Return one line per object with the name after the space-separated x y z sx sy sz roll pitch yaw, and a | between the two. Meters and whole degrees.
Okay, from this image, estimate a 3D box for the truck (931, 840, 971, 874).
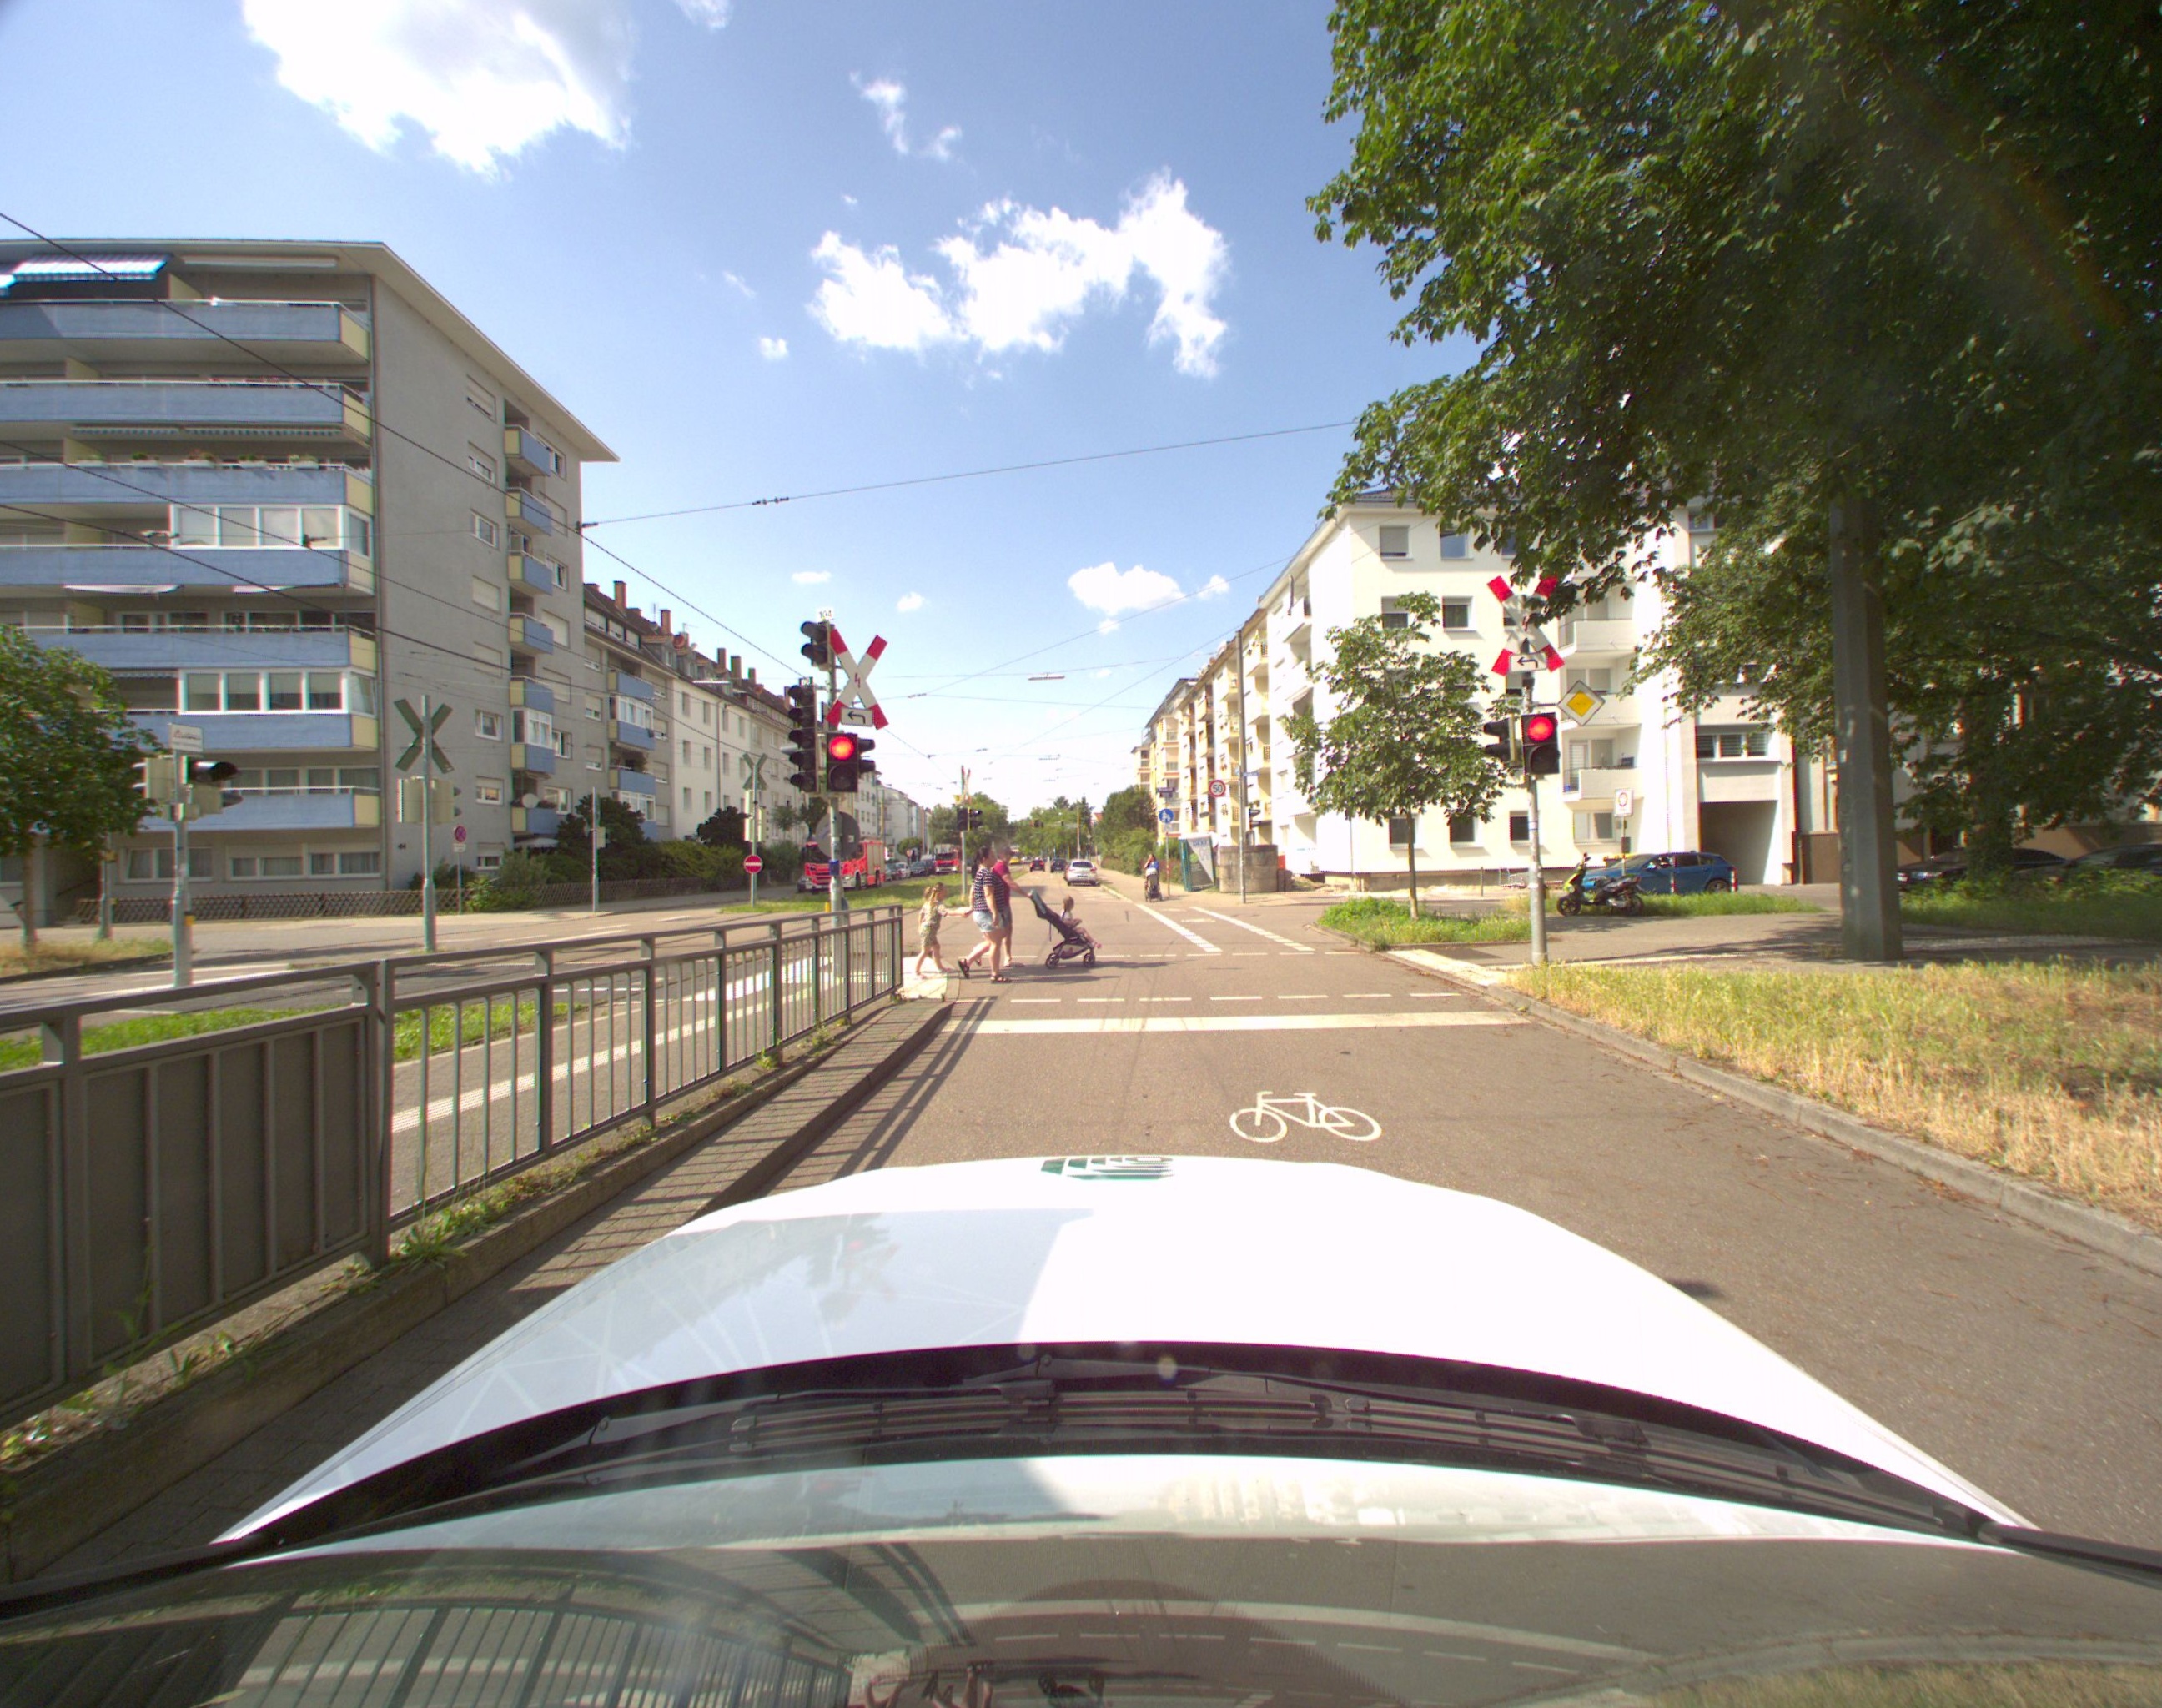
-14.268 0.355 89.948 2.657 3.471 10.168 0 -1 1 | truck

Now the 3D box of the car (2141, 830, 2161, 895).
26.029 0.183 17.459 1.794 1.539 4.013 -2 0 11 | car

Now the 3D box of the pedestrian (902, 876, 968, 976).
-1.814 0.880 10.229 0.634 1.180 0.799 -2 -1 1 | pedestrian

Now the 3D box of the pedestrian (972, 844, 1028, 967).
-1.105 0.692 11.203 0.704 1.648 0.636 1 -1 -3 | pedestrian

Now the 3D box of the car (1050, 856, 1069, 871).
-2.238 0.953 84.548 1.737 1.507 4.001 0 -1 2 | car

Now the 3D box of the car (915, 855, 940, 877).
-17.291 1.346 91.997 1.963 2.370 5.197 0 -1 -2 | car

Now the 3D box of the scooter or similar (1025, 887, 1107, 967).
-0.200 0.989 11.247 1.097 1.056 0.650 0 -1 -2 | scooter or similar

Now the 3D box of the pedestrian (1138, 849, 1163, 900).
2.576 0.756 30.331 0.699 1.789 1.030 -4 0 0 | pedestrian

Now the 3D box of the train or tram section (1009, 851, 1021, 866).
-14.293 0.910 176.220 2.254 3.069 8.122 -2 0 -4 | train or tram section

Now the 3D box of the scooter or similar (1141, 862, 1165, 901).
2.592 0.987 29.452 0.660 1.303 0.868 -5 0 -1 | scooter or similar

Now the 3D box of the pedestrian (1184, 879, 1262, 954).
4.252 1.829 25.013 1.984 2.014 4.004 0 -1 4 | pedestrian

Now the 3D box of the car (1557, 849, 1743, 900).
16.486 0.574 23.773 4.148 1.413 1.782 0 -1 3 | car

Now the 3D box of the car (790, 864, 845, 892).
-15.778 1.400 48.982 1.987 1.645 3.999 0 -1 0 | car

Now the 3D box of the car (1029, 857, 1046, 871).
-4.963 1.169 93.462 1.739 1.507 3.997 0 -1 -1 | car

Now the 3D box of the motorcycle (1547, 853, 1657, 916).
11.040 0.652 17.331 0.574 1.215 1.829 -6 1 -30 | motorcycle

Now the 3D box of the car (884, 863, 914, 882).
-16.884 1.675 75.899 1.988 1.711 3.997 0 -1 -2 | car

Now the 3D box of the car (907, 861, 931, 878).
-17.047 1.592 85.791 1.905 1.711 3.996 0 -1 -3 | car

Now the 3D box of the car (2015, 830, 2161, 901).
23.222 0.219 17.504 1.733 1.459 4.001 -2 0 1 | car

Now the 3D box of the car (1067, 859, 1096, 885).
0.020 1.038 48.414 1.617 1.465 3.509 0 -1 -1 | car

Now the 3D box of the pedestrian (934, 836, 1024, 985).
-1.238 0.644 9.774 0.849 1.667 0.792 -1 -1 -23 | pedestrian

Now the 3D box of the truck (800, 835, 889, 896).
-13.202 0.641 46.270 2.588 3.186 8.379 0 -1 0 | truck
